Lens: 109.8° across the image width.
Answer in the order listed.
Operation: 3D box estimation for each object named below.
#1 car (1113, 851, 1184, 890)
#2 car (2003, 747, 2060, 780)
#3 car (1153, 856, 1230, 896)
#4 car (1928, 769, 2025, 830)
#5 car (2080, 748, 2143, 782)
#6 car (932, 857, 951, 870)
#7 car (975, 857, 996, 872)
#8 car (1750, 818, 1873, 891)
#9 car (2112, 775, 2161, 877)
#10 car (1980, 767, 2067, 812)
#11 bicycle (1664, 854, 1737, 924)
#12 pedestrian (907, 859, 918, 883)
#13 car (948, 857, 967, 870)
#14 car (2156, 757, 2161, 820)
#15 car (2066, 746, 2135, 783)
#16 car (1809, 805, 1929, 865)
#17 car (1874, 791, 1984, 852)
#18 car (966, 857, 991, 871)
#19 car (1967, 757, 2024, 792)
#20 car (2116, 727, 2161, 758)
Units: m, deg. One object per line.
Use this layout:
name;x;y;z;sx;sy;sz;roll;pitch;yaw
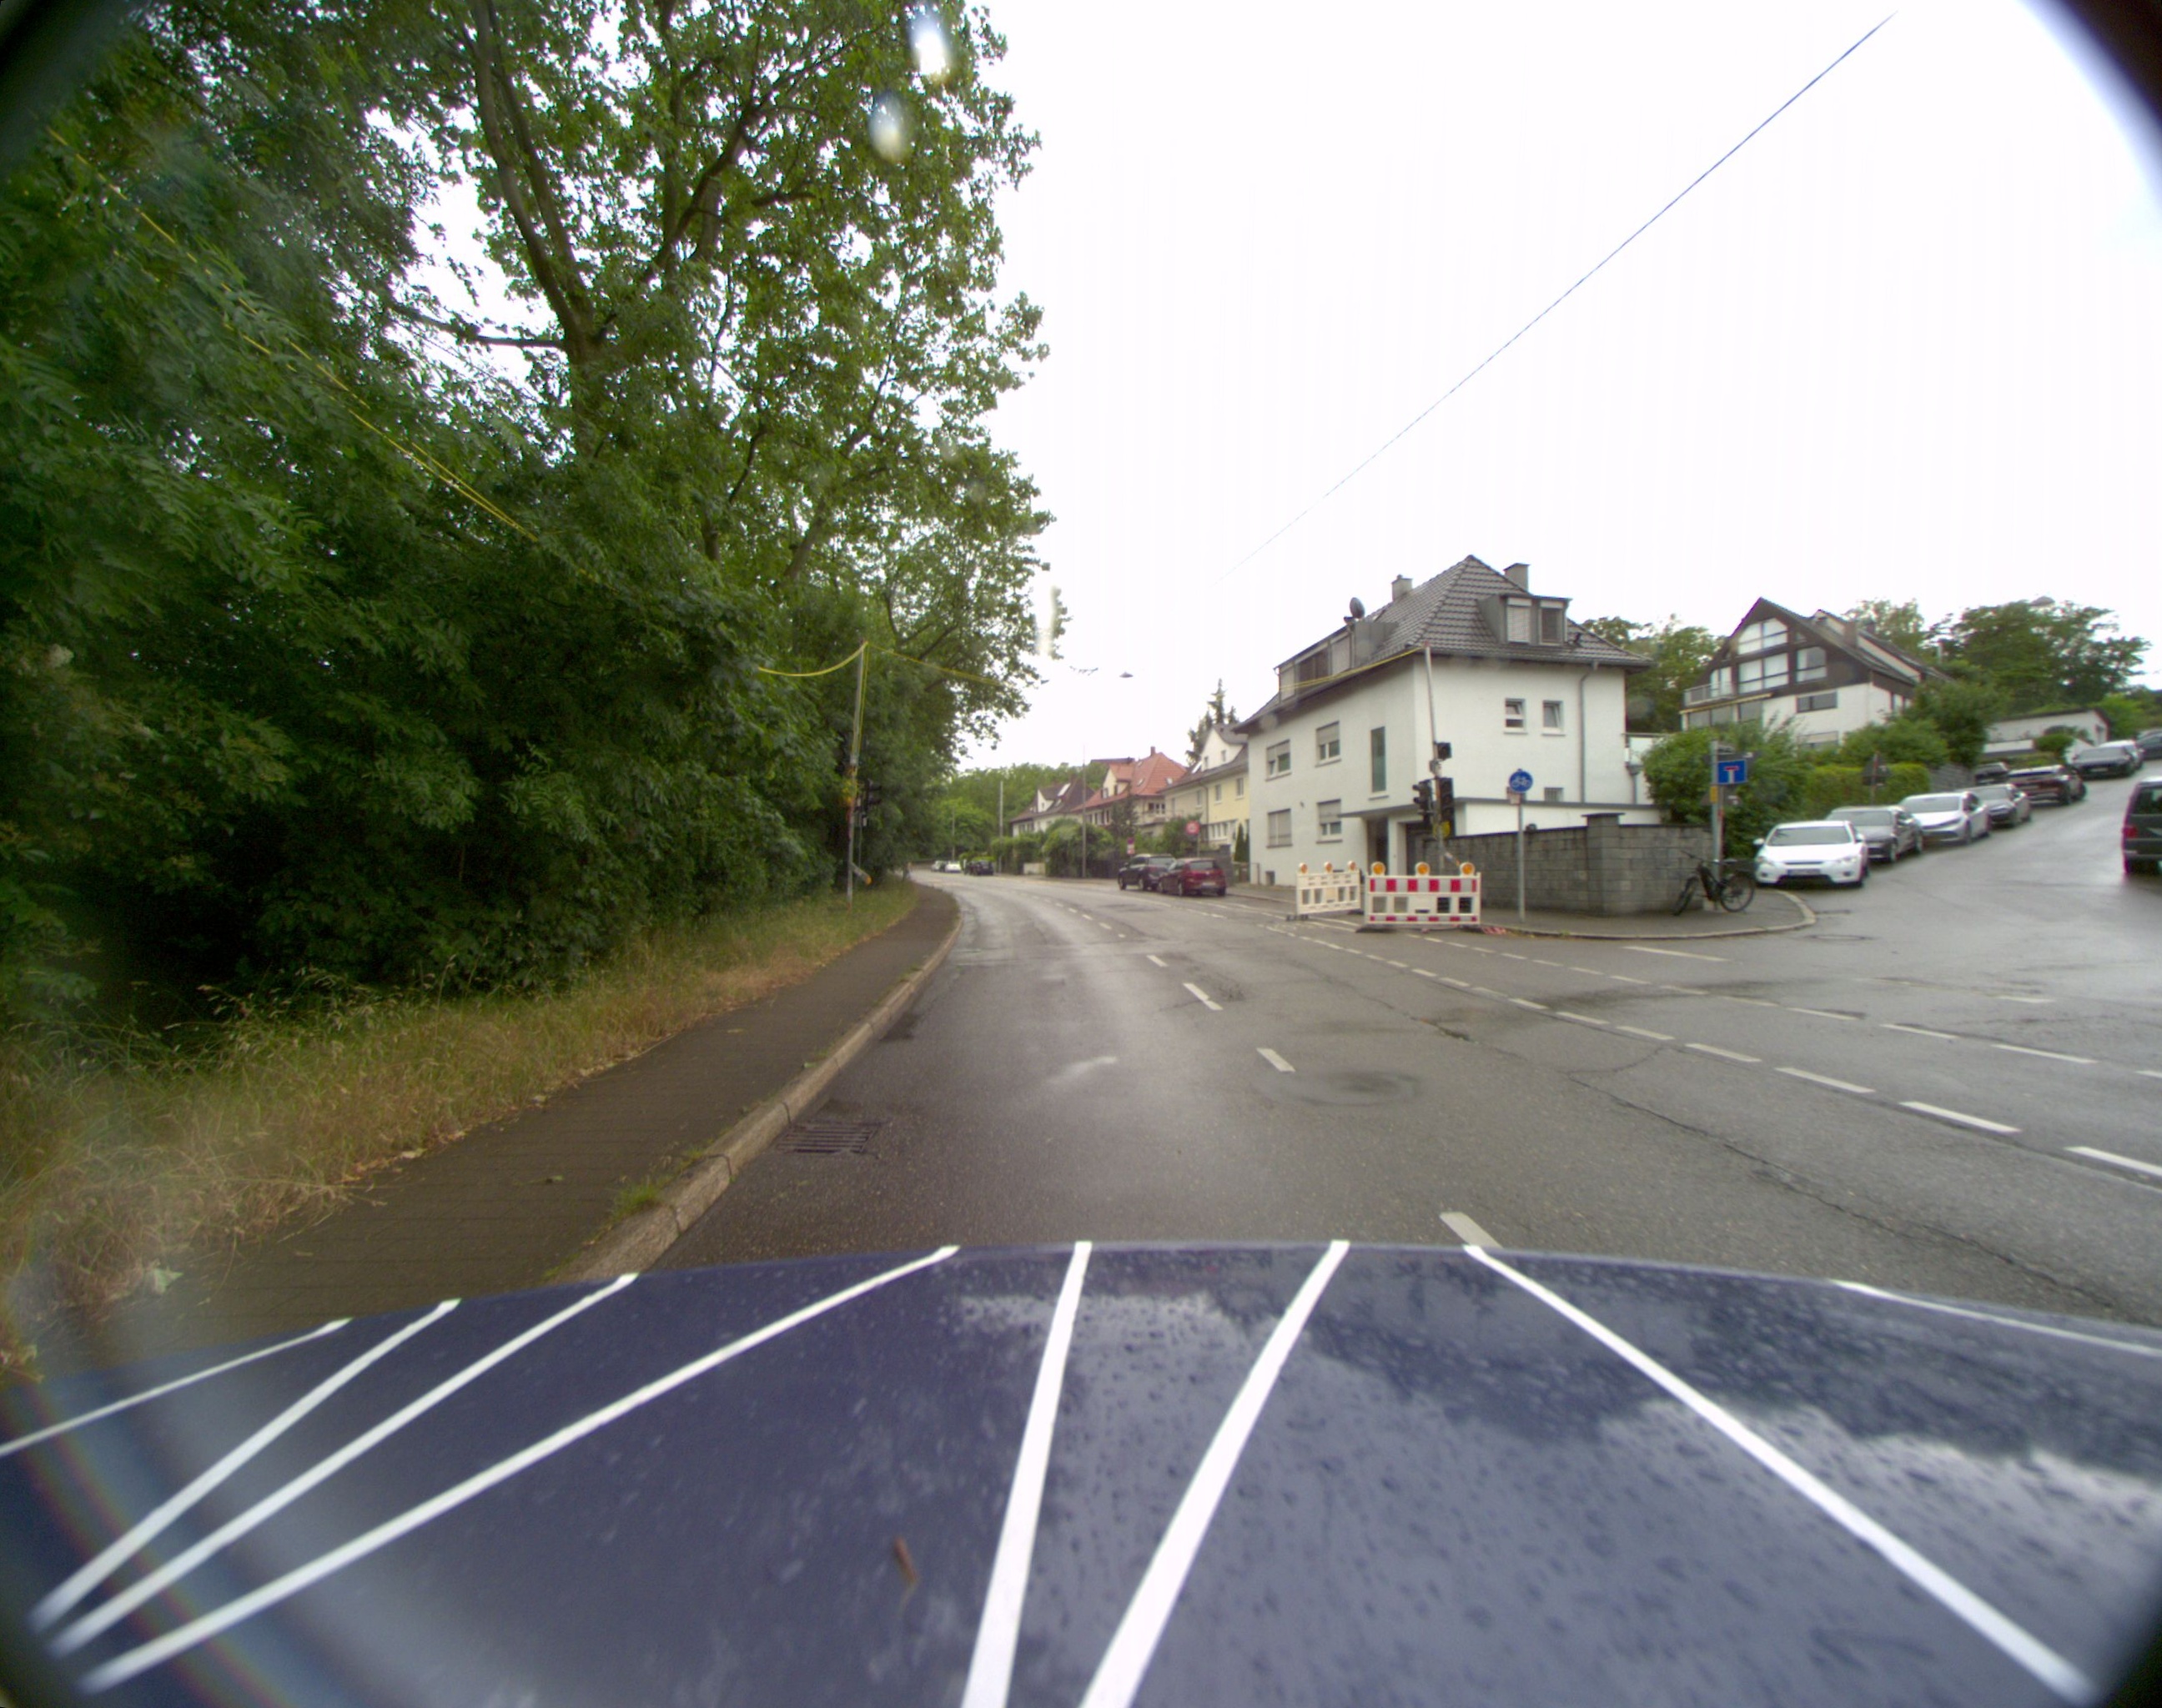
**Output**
car;3.004;0.748;34.997;1.761;1.648;4.399;1;-1;-16
car;57.409;-5.442;45.939;4.007;1.711;1.886;-5;3;-42
car;4.269;0.826;29.973;1.622;1.432;4.226;-1;0;-12
car;32.142;-1.966;27.245;4.006;1.981;1.886;-5;3;-35
car;59.430;-5.139;43.819;4.005;1.711;1.886;-4;3;-32
car;-18.935;1.240;103.251;1.739;1.414;4.274;-5;4;-19
car;-9.473;1.079;75.518;1.525;1.445;3.025;1;-1;-18
car;17.722;-0.041;18.378;4.007;1.458;1.886;-5;3;-42
car;23.720;-0.681;16.075;4.005;1.909;1.995;-7;4;-32
car;40.076;-2.741;32.303;4.005;1.711;1.886;-4;3;-32
bicycle;11.169;0.605;13.677;1.520;1.118;0.462;-4;3;-28
pedestrian;-11.378;1.142;51.383;0.644;1.602;0.668;-1;2;-19
car;-15.278;1.158;93.792;1.705;1.459;3.704;-1;0;-20
car;33.056;-2.045;22.090;4.005;1.736;1.864;-7;4;-32
car;54.102;-4.729;40.318;4.005;1.711;1.886;-4;3;-32
car;22.505;-0.575;21.665;4.006;1.458;1.886;-5;3;-36
car;27.055;-1.037;24.223;4.006;1.711;1.886;-5;3;-35
car;-10.789;1.091;79.481;1.695;1.410;4.208;1;-1;-21
car;51.854;-4.486;43.141;4.007;1.711;1.886;-5;3;-42
car;68.456;-7.113;47.674;1.894;1.711;3.990;-4;2;-30
